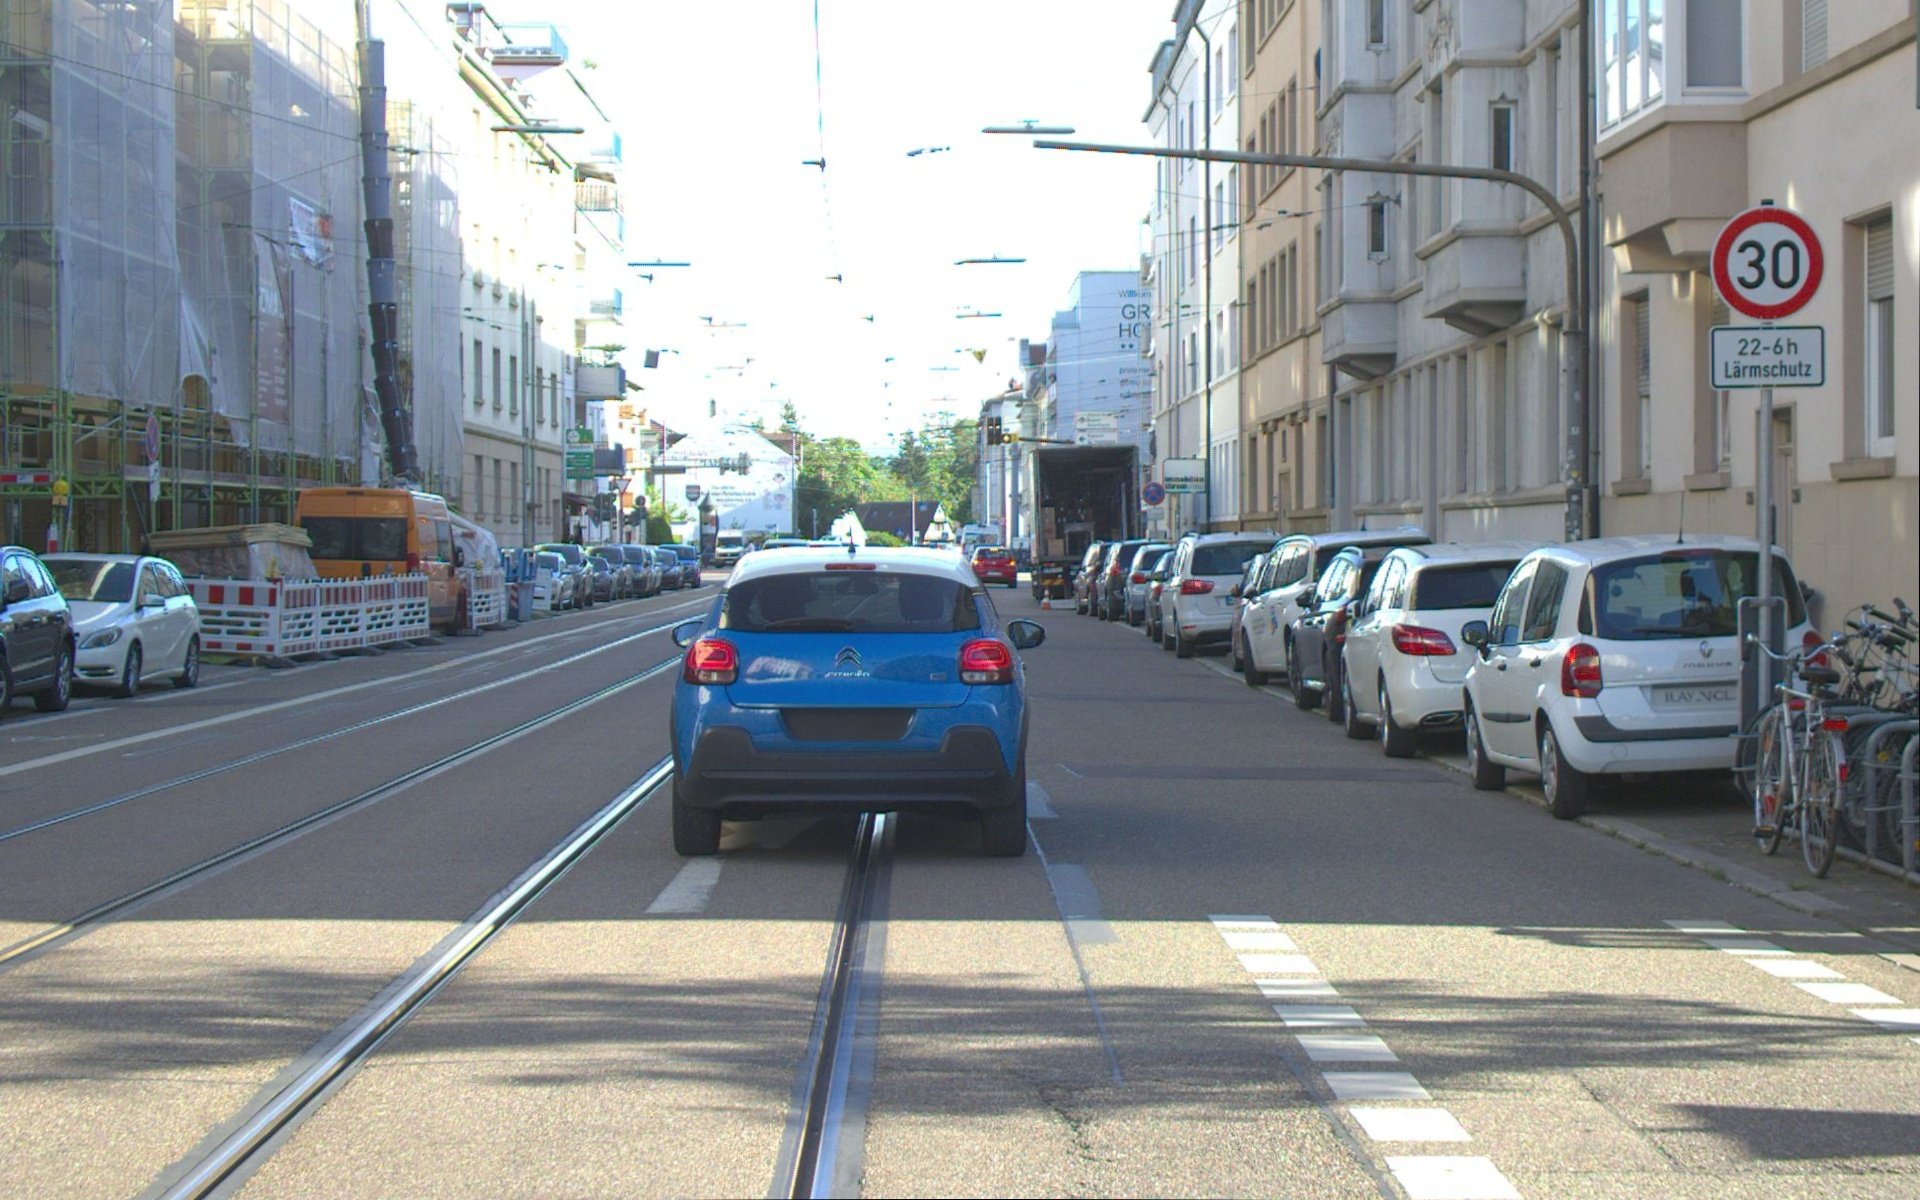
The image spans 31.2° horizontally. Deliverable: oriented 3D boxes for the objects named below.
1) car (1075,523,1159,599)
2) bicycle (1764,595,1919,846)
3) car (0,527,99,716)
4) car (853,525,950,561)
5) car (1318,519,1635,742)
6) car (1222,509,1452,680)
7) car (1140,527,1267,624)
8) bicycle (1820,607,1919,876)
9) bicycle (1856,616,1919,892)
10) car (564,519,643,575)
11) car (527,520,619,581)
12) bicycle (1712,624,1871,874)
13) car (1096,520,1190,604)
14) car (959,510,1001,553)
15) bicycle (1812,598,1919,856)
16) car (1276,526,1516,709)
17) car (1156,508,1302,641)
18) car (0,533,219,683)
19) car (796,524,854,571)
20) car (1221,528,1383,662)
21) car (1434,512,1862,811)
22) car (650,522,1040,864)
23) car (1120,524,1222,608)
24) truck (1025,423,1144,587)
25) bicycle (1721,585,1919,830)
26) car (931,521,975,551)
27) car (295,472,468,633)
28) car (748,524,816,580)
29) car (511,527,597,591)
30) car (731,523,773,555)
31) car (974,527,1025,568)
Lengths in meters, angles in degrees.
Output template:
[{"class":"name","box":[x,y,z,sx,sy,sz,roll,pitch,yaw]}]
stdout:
[{"class":"car","box":[3.444,-0.889,76.031,1.664,1.627,3.871,-1,1,0]},{"class":"bicycle","box":[4.866,0.549,16.761,1.722,1.150,0.469,-4,1,0]},{"class":"car","box":[-9.451,0.145,32.151,1.783,1.621,4.610,2,1,-2]},{"class":"car","box":[-2.510,-2.445,146.411,4.017,1.481,1.761,-1,1,-4]},{"class":"car","box":[3.896,0.172,26.601,1.783,1.570,4.326,-1,1,0]},{"class":"car","box":[4.055,-0.108,37.652,1.654,1.746,4.604,-1,1,-5]},{"class":"car","box":[3.885,-0.420,55.450,1.722,1.481,4.222,-1,1,0]},{"class":"bicycle","box":[4.819,0.587,15.461,1.722,1.150,0.469,-4,1,0]},{"class":"bicycle","box":[4.841,0.614,14.914,1.722,1.150,0.469,-4,1,0]},{"class":"car","box":[-10.577,-1.590,102.303,1.826,1.626,4.849,-1,1,0]},{"class":"car","box":[-10.822,-1.410,96.447,2.144,1.616,4.000,-1,2,-1]},{"class":"bicycle","box":[3.834,0.660,15.943,0.353,1.041,1.728,0,1,1]},{"class":"car","box":[3.693,-0.797,70.010,1.664,1.641,4.222,-1,1,0]},{"class":"car","box":[1.043,-3.682,184.158,2.220,2.276,4.084,-1,1,0]},{"class":"bicycle","box":[4.953,0.549,16.139,1.722,1.150,0.469,-4,1,0]},{"class":"car","box":[3.968,0.102,31.888,1.655,1.561,4.338,-1,1,0]},{"class":"car","box":[3.840,-0.404,49.720,1.730,1.821,4.687,-1,1,0]},{"class":"car","box":[-9.610,0.045,38.173,1.718,1.497,4.388,2,1,1]},{"class":"car","box":[-4.803,-1.891,122.677,1.901,1.626,4.267,-1,1,0]},{"class":"car","box":[4.139,-0.097,42.031,1.614,1.555,3.600,-1,1,0]},{"class":"car","box":[4.057,0.292,20.881,1.783,1.626,4.000,-1,1,0]},{"class":"car","box":[-0.532,0.378,17.654,1.735,1.502,3.993,2,1,0]},{"class":"car","box":[3.967,-0.669,65.167,1.664,1.514,4.222,-1,1,0]},{"class":"truck","box":[3.225,-2.502,91.704,2.853,4.069,11.271,0,1,1]},{"class":"bicycle","box":[4.794,0.513,17.388,1.722,1.150,0.469,-4,1,0]},{"class":"car","box":[-0.344,-3.222,172.160,2.180,1.481,4.160,0,1,0]},{"class":"car","box":[-9.270,-0.795,55.481,2.144,2.467,4.981,0,1,-2]},{"class":"car","box":[-5.351,-1.471,103.888,1.826,1.626,4.491,-1,1,0]},{"class":"car","box":[-10.421,-1.073,88.472,1.714,1.588,4.267,-1,1,0]},{"class":"car","box":[-10.687,-3.143,177.258,1.901,1.626,4.267,-1,1,0]},{"class":"car","box":[1.424,-1.921,125.048,1.765,1.481,4.032,-1,1,0]}]
